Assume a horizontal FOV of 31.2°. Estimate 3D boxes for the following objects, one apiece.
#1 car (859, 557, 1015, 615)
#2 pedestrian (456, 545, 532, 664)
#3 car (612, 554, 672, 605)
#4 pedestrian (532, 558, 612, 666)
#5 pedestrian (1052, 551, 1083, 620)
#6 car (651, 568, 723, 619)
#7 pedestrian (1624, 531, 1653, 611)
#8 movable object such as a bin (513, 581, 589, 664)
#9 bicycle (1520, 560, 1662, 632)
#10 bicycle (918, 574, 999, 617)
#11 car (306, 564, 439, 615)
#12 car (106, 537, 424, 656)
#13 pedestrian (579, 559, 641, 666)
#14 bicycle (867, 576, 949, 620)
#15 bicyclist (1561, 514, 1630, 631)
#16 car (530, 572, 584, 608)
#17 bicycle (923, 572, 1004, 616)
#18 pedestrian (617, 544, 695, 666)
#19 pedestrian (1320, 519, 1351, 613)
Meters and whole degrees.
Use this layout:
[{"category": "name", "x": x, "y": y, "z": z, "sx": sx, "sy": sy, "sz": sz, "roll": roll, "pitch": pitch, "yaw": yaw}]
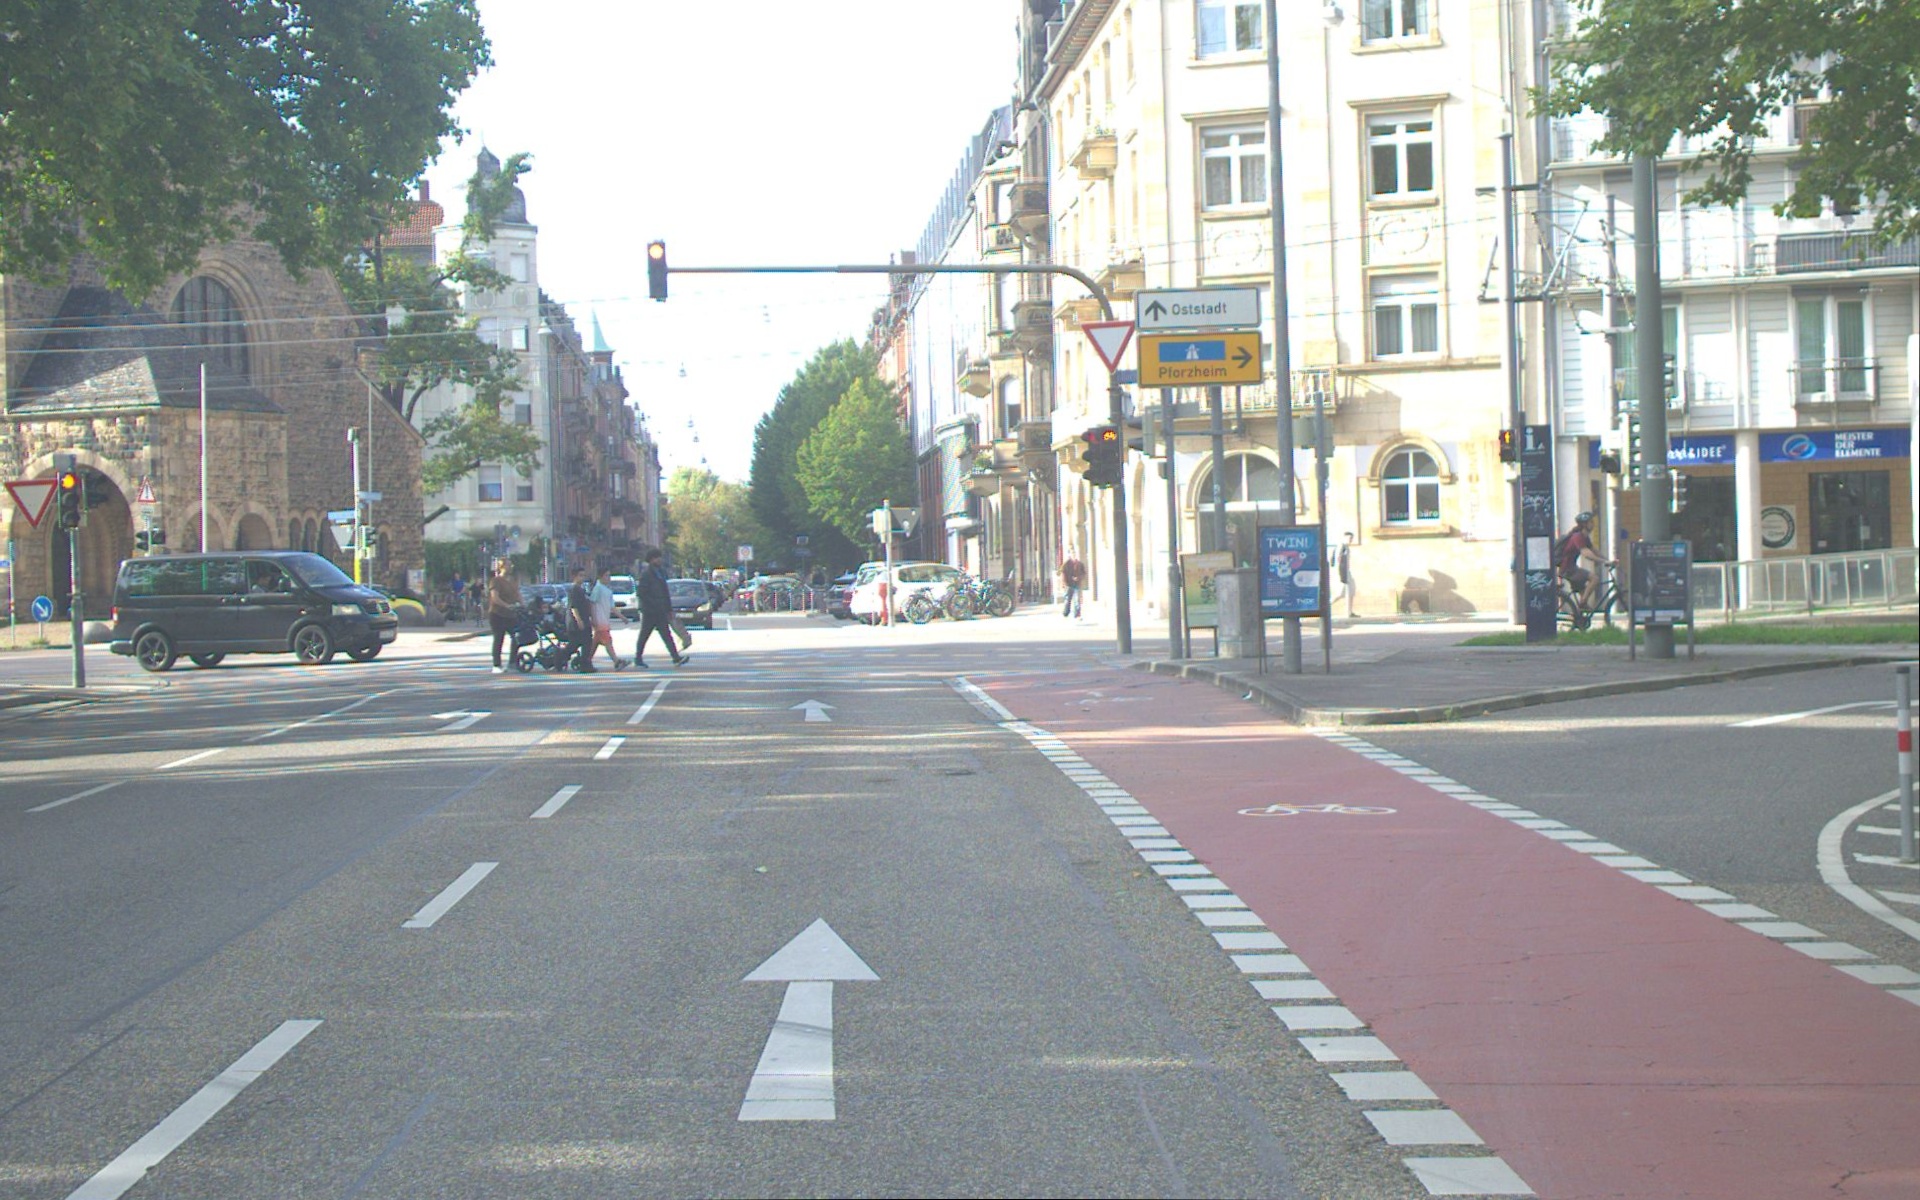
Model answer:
[{"category": "car", "x": -0.646, "y": -0.391, "z": 92.518, "sx": 3.986, "sy": 1.415, "sz": 2.000, "roll": -2, "pitch": 1, "yaw": -6}, {"category": "pedestrian", "x": -6.452, "y": 0.059, "z": 47.620, "sx": 0.815, "sy": 1.623, "sz": 0.604, "roll": -1, "pitch": 1, "yaw": 22}, {"category": "car", "x": -11.440, "y": -0.739, "z": 123.724, "sx": 1.949, "sy": 1.744, "sz": 4.001, "roll": -2, "pitch": 1, "yaw": -3}, {"category": "pedestrian", "x": -5.226, "y": 0.159, "z": 46.341, "sx": 0.781, "sy": 1.427, "sz": 0.730, "roll": -1, "pitch": 1, "yaw": 20}, {"category": "pedestrian", "x": 2.538, "y": -0.347, "z": 81.151, "sx": 0.562, "sy": 1.618, "sz": 0.600, "roll": -1, "pitch": 1, "yaw": 19}, {"category": "car", "x": -7.921, "y": -0.193, "z": 100.106, "sx": 1.949, "sy": 1.367, "sz": 4.001, "roll": -2, "pitch": 1, "yaw": -3}, {"category": "pedestrian", "x": 14.667, "y": -0.630, "z": 74.308, "sx": 0.496, "sy": 1.708, "sz": 0.526, "roll": 1, "pitch": 1, "yaw": 22}, {"category": "movable object such as a bin", "x": -5.636, "y": 0.310, "z": 47.356, "sx": 0.838, "sy": 1.120, "sz": 0.575, "roll": -1, "pitch": 1, "yaw": 21}, {"category": "bicycle", "x": 8.694, "y": -0.056, "z": 47.382, "sx": 1.832, "sy": 0.952, "sz": 0.572, "roll": -1, "pitch": 1, "yaw": 24}, {"category": "bicycle", "x": -0.049, "y": -0.118, "z": 90.867, "sx": 2.022, "sy": 1.078, "sz": 0.631, "roll": -2, "pitch": 1, "yaw": -12}, {"category": "car", "x": -19.799, "y": -0.355, "z": 115.949, "sx": 3.989, "sy": 1.590, "sz": 1.868, "roll": -2, "pitch": 1, "yaw": -41}, {"category": "car", "x": -11.732, "y": -0.061, "z": 58.120, "sx": 4.847, "sy": 1.864, "sz": 2.030, "roll": -1, "pitch": 1, "yaw": 17}, {"category": "pedestrian", "x": -4.772, "y": 0.166, "z": 46.859, "sx": 0.656, "sy": 1.427, "sz": 0.498, "roll": -1, "pitch": 1, "yaw": 20}, {"category": "bicycle", "x": -1.368, "y": -0.062, "z": 90.067, "sx": 2.022, "sy": 1.078, "sz": 0.620, "roll": -2, "pitch": 1, "yaw": -12}, {"category": "bicyclist", "x": 8.761, "y": -0.382, "z": 47.365, "sx": 0.779, "sy": 1.574, "sz": 0.625, "roll": -1, "pitch": 1, "yaw": 23}, {"category": "car", "x": -14.708, "y": -0.373, "z": 125.518, "sx": 1.550, "sy": 1.225, "sz": 3.588, "roll": 0, "pitch": 1, "yaw": 0}, {"category": "bicycle", "x": 0.094, "y": -0.166, "z": 90.199, "sx": 2.022, "sy": 1.078, "sz": 0.620, "roll": -2, "pitch": 1, "yaw": -12}, {"category": "pedestrian", "x": -4.210, "y": 0.062, "z": 47.634, "sx": 0.781, "sy": 1.656, "sz": 0.778, "roll": -1, "pitch": 1, "yaw": 20}, {"category": "pedestrian", "x": 8.414, "y": -0.760, "z": 76.981, "sx": 0.526, "sy": 2.086, "sz": 0.496, "roll": 1, "pitch": 1, "yaw": 23}]
